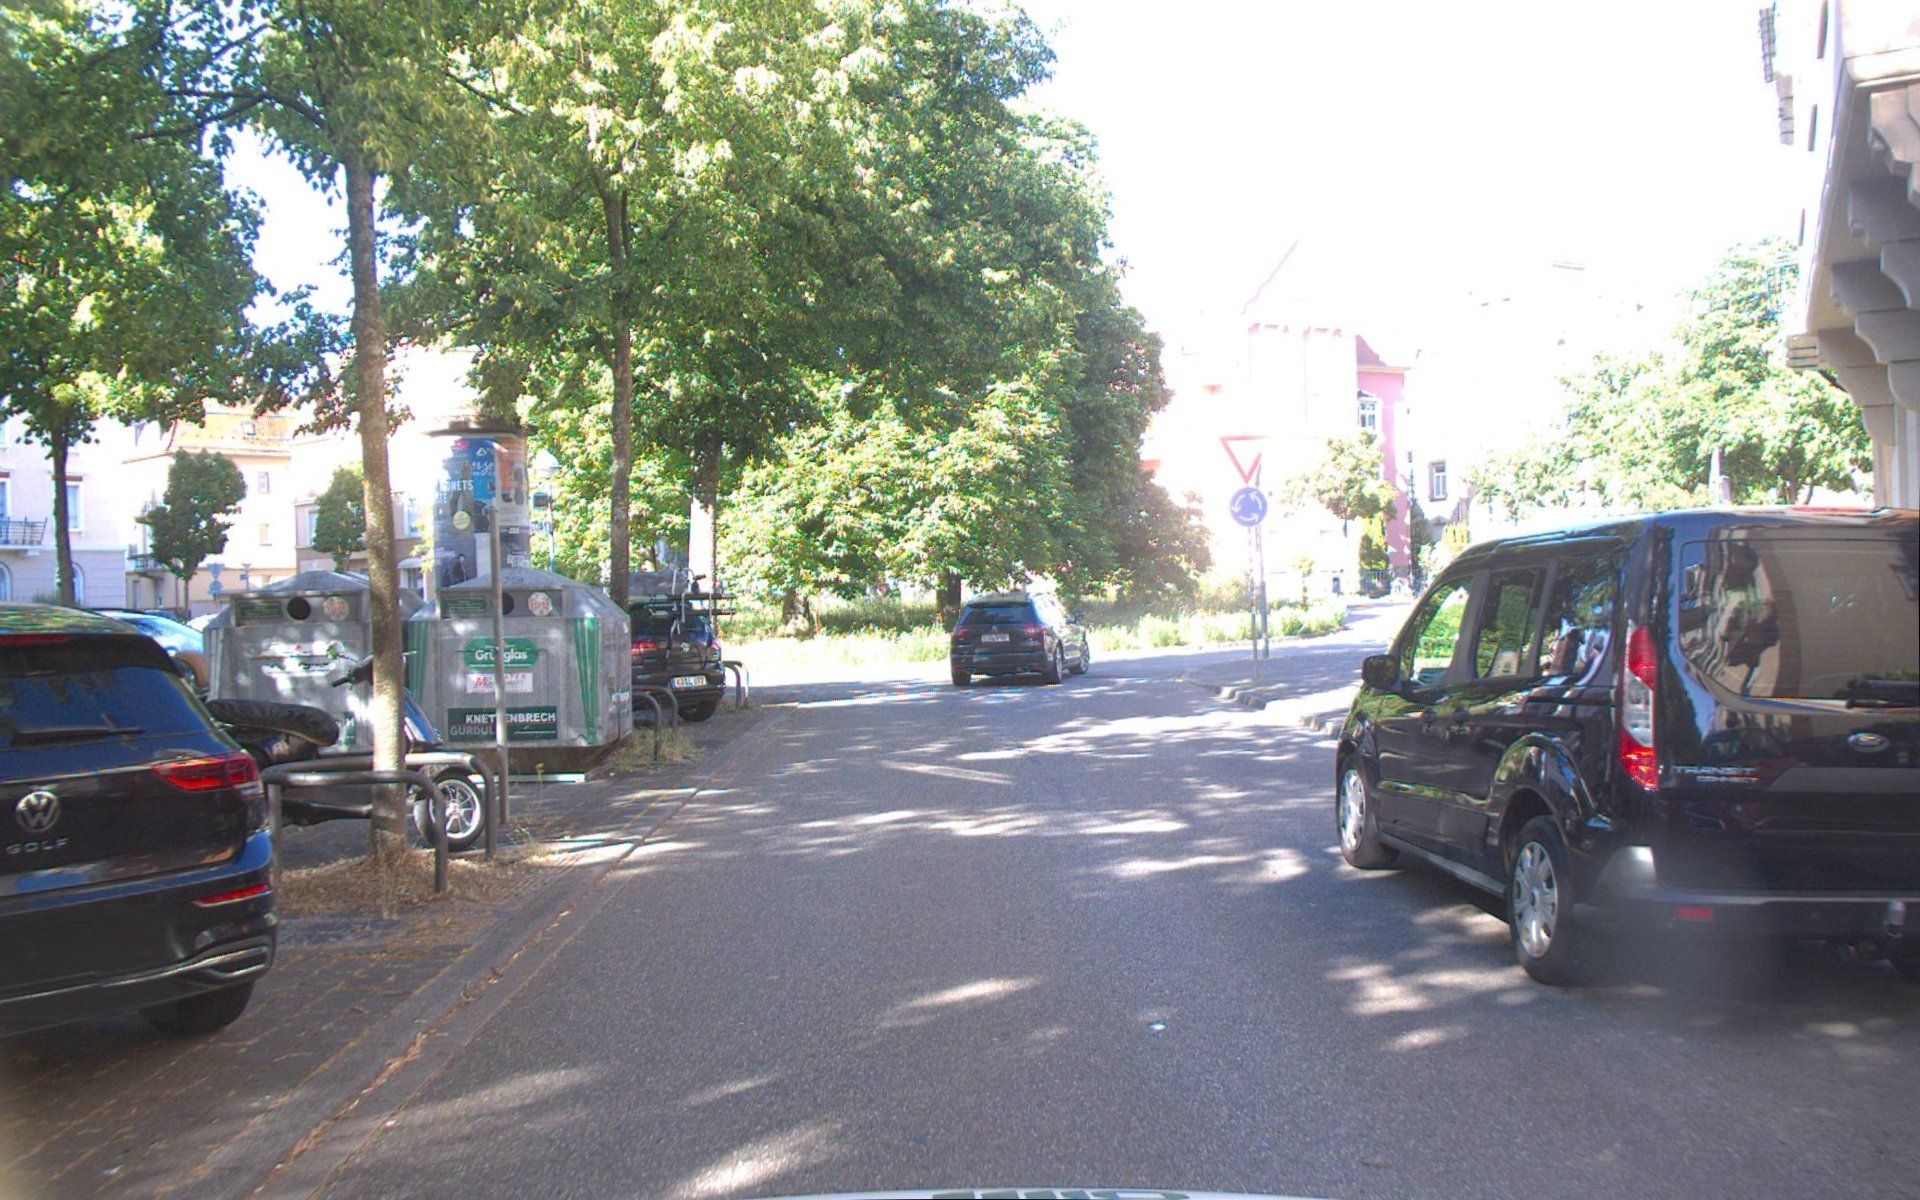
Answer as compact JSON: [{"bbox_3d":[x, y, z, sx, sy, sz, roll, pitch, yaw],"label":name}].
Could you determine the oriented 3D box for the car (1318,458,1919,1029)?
[{"bbox_3d":[3.094,0.485,7.740,1.765,1.903,4.272,2,0,-2],"label":"car"}]

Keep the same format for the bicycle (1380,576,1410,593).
[{"bbox_3d":[21.183,-0.749,80.630,0.469,0.814,2.021,-2,1,-14],"label":"bicycle"}]

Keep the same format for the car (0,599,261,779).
[{"bbox_3d":[-8.706,0.833,15.395,3.707,1.491,1.646,-3,0,11],"label":"car"}]

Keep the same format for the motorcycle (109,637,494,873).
[{"bbox_3d":[-3.658,0.848,9.280,1.900,1.191,0.518,-2,0,-2],"label":"motorcycle"}]

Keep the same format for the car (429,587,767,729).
[{"bbox_3d":[-4.328,0.646,19.515,4.063,1.507,1.767,-1,-1,39],"label":"car"}]

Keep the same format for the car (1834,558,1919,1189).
[{"bbox_3d":[3.241,0.707,2.513,1.612,1.564,3.999,1,0,-2],"label":"car"}]

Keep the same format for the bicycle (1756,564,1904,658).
[{"bbox_3d":[10.407,0.135,19.824,1.527,1.079,0.271,-2,0,25],"label":"bicycle"}]

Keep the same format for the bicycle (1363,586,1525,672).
[{"bbox_3d":[6.983,0.427,23.924,2.178,1.180,0.388,-2,0,25],"label":"bicycle"}]

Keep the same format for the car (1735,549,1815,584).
[{"bbox_3d":[38.108,-1.569,77.343,3.406,1.461,1.646,-3,1,-27],"label":"car"}]

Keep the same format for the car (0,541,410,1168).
[{"bbox_3d":[-3.834,0.677,5.684,4.077,1.581,1.824,-2,0,40],"label":"car"}]

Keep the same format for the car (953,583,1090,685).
[{"bbox_3d":[1.126,0.523,28.115,1.677,1.508,4.148,-2,1,11],"label":"car"}]
